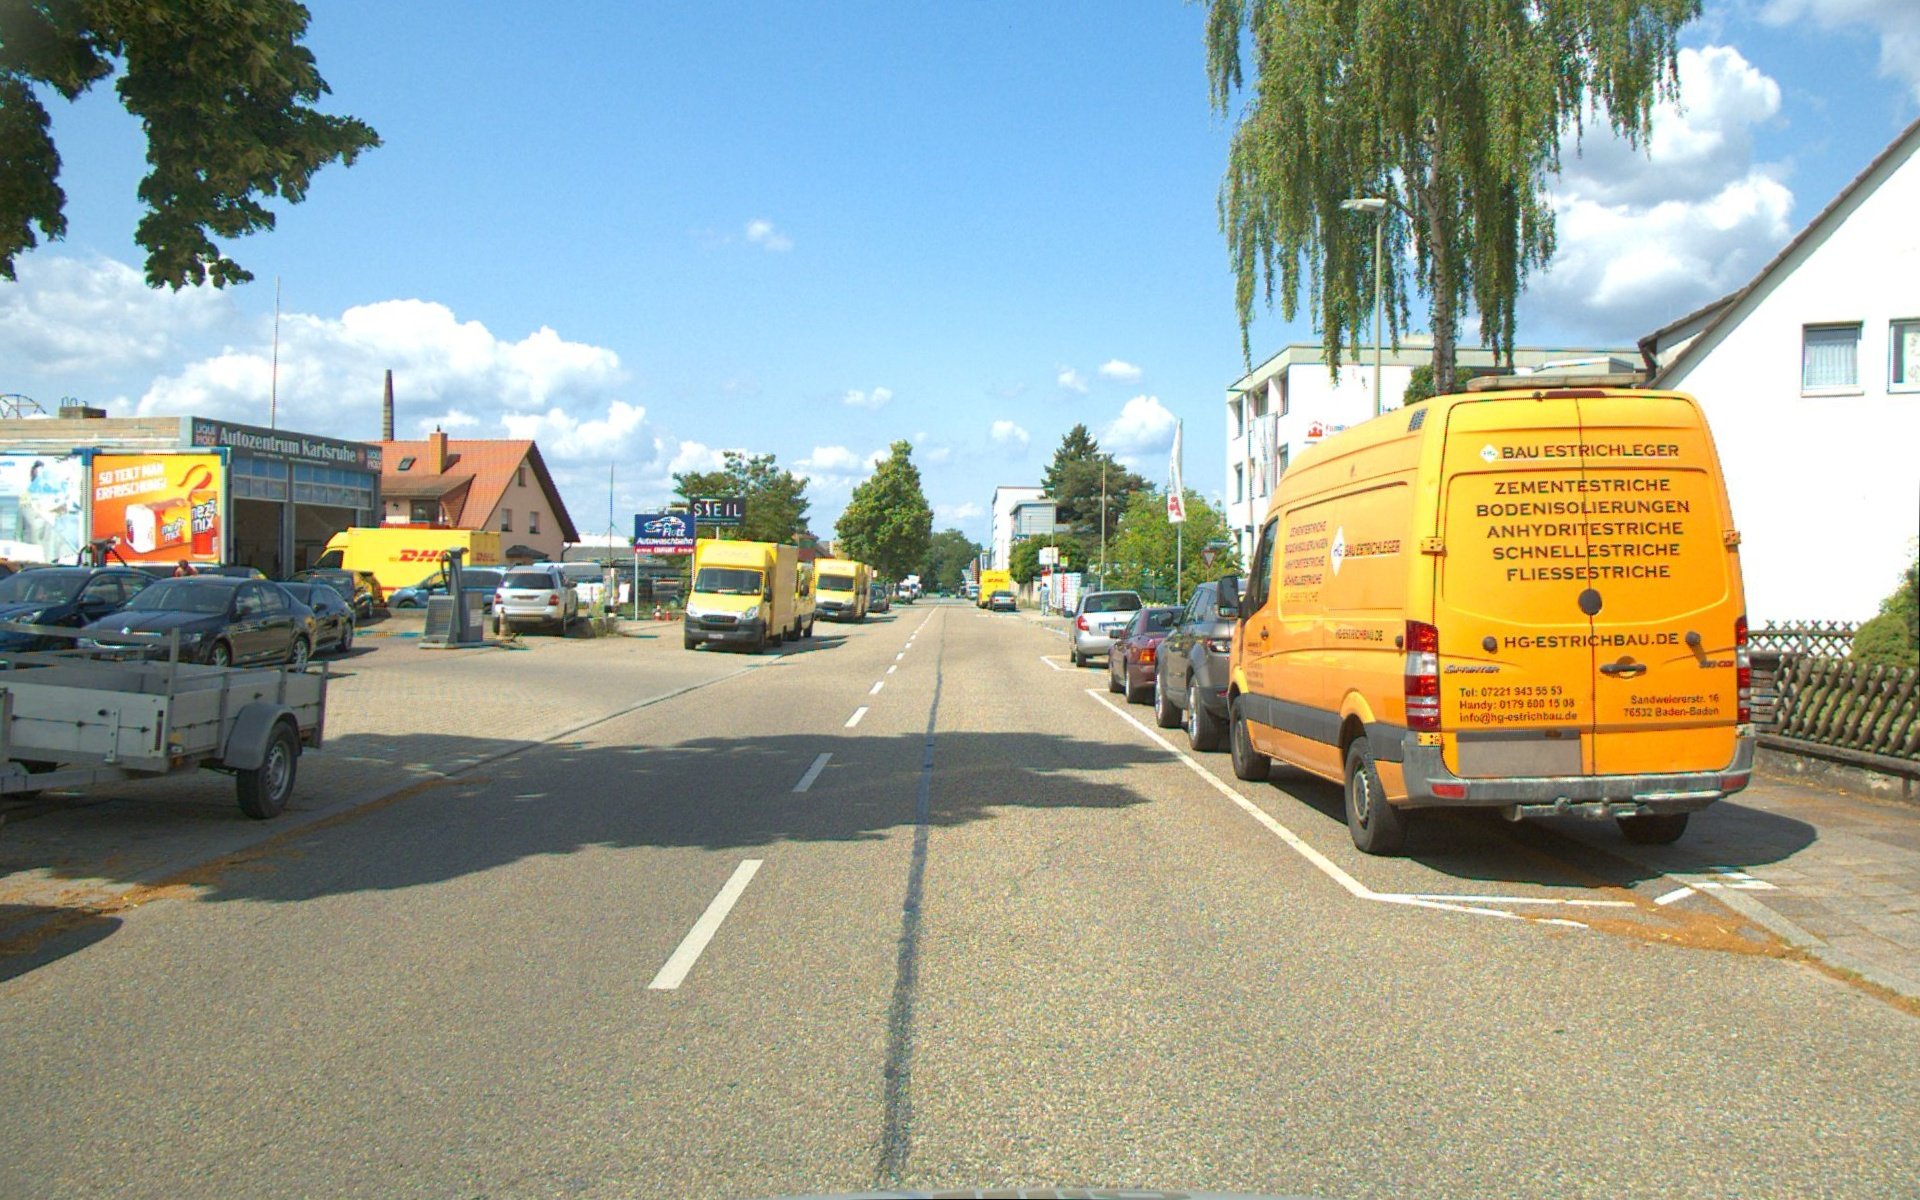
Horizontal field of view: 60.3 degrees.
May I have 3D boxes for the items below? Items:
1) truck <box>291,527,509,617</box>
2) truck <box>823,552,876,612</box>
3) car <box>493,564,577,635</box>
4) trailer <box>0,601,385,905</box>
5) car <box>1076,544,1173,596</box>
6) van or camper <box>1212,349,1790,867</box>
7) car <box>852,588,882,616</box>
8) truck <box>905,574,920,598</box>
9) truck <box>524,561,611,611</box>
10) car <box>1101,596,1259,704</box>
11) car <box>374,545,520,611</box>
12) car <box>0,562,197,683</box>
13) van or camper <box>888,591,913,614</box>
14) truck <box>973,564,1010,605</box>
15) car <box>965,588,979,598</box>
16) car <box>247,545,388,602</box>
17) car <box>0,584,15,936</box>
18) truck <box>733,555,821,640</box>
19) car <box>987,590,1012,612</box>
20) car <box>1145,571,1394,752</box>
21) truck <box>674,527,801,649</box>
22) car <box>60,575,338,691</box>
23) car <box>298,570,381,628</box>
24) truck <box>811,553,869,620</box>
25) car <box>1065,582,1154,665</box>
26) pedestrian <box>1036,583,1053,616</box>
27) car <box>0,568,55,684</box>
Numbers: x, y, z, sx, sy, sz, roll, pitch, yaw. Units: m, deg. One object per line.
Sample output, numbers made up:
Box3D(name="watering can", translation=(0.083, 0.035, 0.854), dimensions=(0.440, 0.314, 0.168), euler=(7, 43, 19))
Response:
Box3D(name="truck", translation=(-18.546, -0.929, 54.898), dimensions=(6.457, 2.900, 2.531), euler=(0, 1, 12))
Box3D(name="truck", translation=(-5.749, -0.956, 86.983), dimensions=(2.269, 2.912, 7.103), euler=(3, 0, -1))
Box3D(name="car", translation=(-11.622, -0.065, 45.458), dimensions=(1.795, 1.735, 4.699), euler=(0, 2, -9))
Box3D(name="trailer", translation=(-5.174, 0.750, 10.283), dimensions=(1.726, 1.311, 4.506), euler=(4, 1, -3))
Box3D(name="car", translation=(8.764, -1.577, 88.396), dimensions=(4.814, 2.698, 2.070), euler=(0, 0, -8))
Box3D(name="van or camper", translation=(3.295, 0.022, 11.580), dimensions=(1.953, 2.710, 5.767), euler=(0, 0, -2))
Box3D(name="car", translation=(-5.891, 0.119, 104.830), dimensions=(1.690, 1.632, 4.412), euler=(4, 0, -2))
Box3D(name="truck", translation=(-6.678, -1.958, 232.066), dimensions=(1.988, 3.209, 6.499), euler=(0, 0, 0))
Box3D(name="truck", translation=(-20.481, -0.728, 86.570), dimensions=(2.065, 2.531, 5.725), euler=(1, 1, 13))
Box3D(name="car", translation=(3.072, 0.648, 23.896), dimensions=(1.635, 1.358, 4.437), euler=(1, 1, -1))
Box3D(name="car", translation=(-15.832, -0.682, 51.124), dimensions=(3.845, 1.841, 1.857), euler=(3, 1, 9))
Box3D(name="car", translation=(-12.715, 0.262, 23.502), dimensions=(1.718, 1.560, 4.258), euler=(1, 1, 1))
Box3D(name="van or camper", translation=(-6.737, 0.230, 187.238), dimensions=(2.128, 2.455, 7.700), euler=(0, 0, 3))
Box3D(name="truck", translation=(2.393, -1.178, 127.521), dimensions=(2.424, 2.991, 7.186), euler=(2, 0, -2))
Box3D(name="car", translation=(1.607, -0.926, 220.165), dimensions=(1.889, 1.333, 4.000), euler=(0, 1, -1))
Box3D(name="car", translation=(-20.031, -0.824, 51.624), dimensions=(3.760, 1.761, 1.734), euler=(0, 0, 10))
Box3D(name="car", translation=(-5.165, 0.694, 5.231), dimensions=(1.795, 1.555, 4.238), euler=(2, 1, 1))
Box3D(name="truck", translation=(-5.611, -0.096, 51.450), dimensions=(1.952, 2.456, 6.065), euler=(1, 0, 1))
Box3D(name="car", translation=(2.728, 0.050, 115.898), dimensions=(1.618, 1.411, 4.423), euler=(2, 1, 0))
Box3D(name="car", translation=(3.099, 0.550, 17.423), dimensions=(1.795, 1.668, 4.239), euler=(0, 0, -1))
Box3D(name="truck", translation=(-5.763, -0.318, 43.882), dimensions=(2.174, 2.907, 7.070), euler=(2, 0, 1))
Box3D(name="car", translation=(-10.468, 0.396, 23.170), dimensions=(1.718, 1.435, 4.585), euler=(1, 1, 1))
Box3D(name="car", translation=(-17.246, -0.065, 46.124), dimensions=(1.641, 1.310, 3.997), euler=(1, 4, -13))
Box3D(name="truck", translation=(-5.550, -0.605, 77.423), dimensions=(2.223, 2.904, 7.172), euler=(2, 0, -1))
Box3D(name="car", translation=(3.129, 0.453, 35.296), dimensions=(1.577, 1.608, 4.001), euler=(2, 0, 1))
Box3D(name="pedestrian", translation=(4.610, -0.019, 89.954), dimensions=(0.702, 1.726, 0.522), euler=(-5, 0, -5))
Box3D(name="car", translation=(-14.709, 0.372, 23.667), dimensions=(1.412, 1.684, 3.303), euler=(0, 0, 7))
